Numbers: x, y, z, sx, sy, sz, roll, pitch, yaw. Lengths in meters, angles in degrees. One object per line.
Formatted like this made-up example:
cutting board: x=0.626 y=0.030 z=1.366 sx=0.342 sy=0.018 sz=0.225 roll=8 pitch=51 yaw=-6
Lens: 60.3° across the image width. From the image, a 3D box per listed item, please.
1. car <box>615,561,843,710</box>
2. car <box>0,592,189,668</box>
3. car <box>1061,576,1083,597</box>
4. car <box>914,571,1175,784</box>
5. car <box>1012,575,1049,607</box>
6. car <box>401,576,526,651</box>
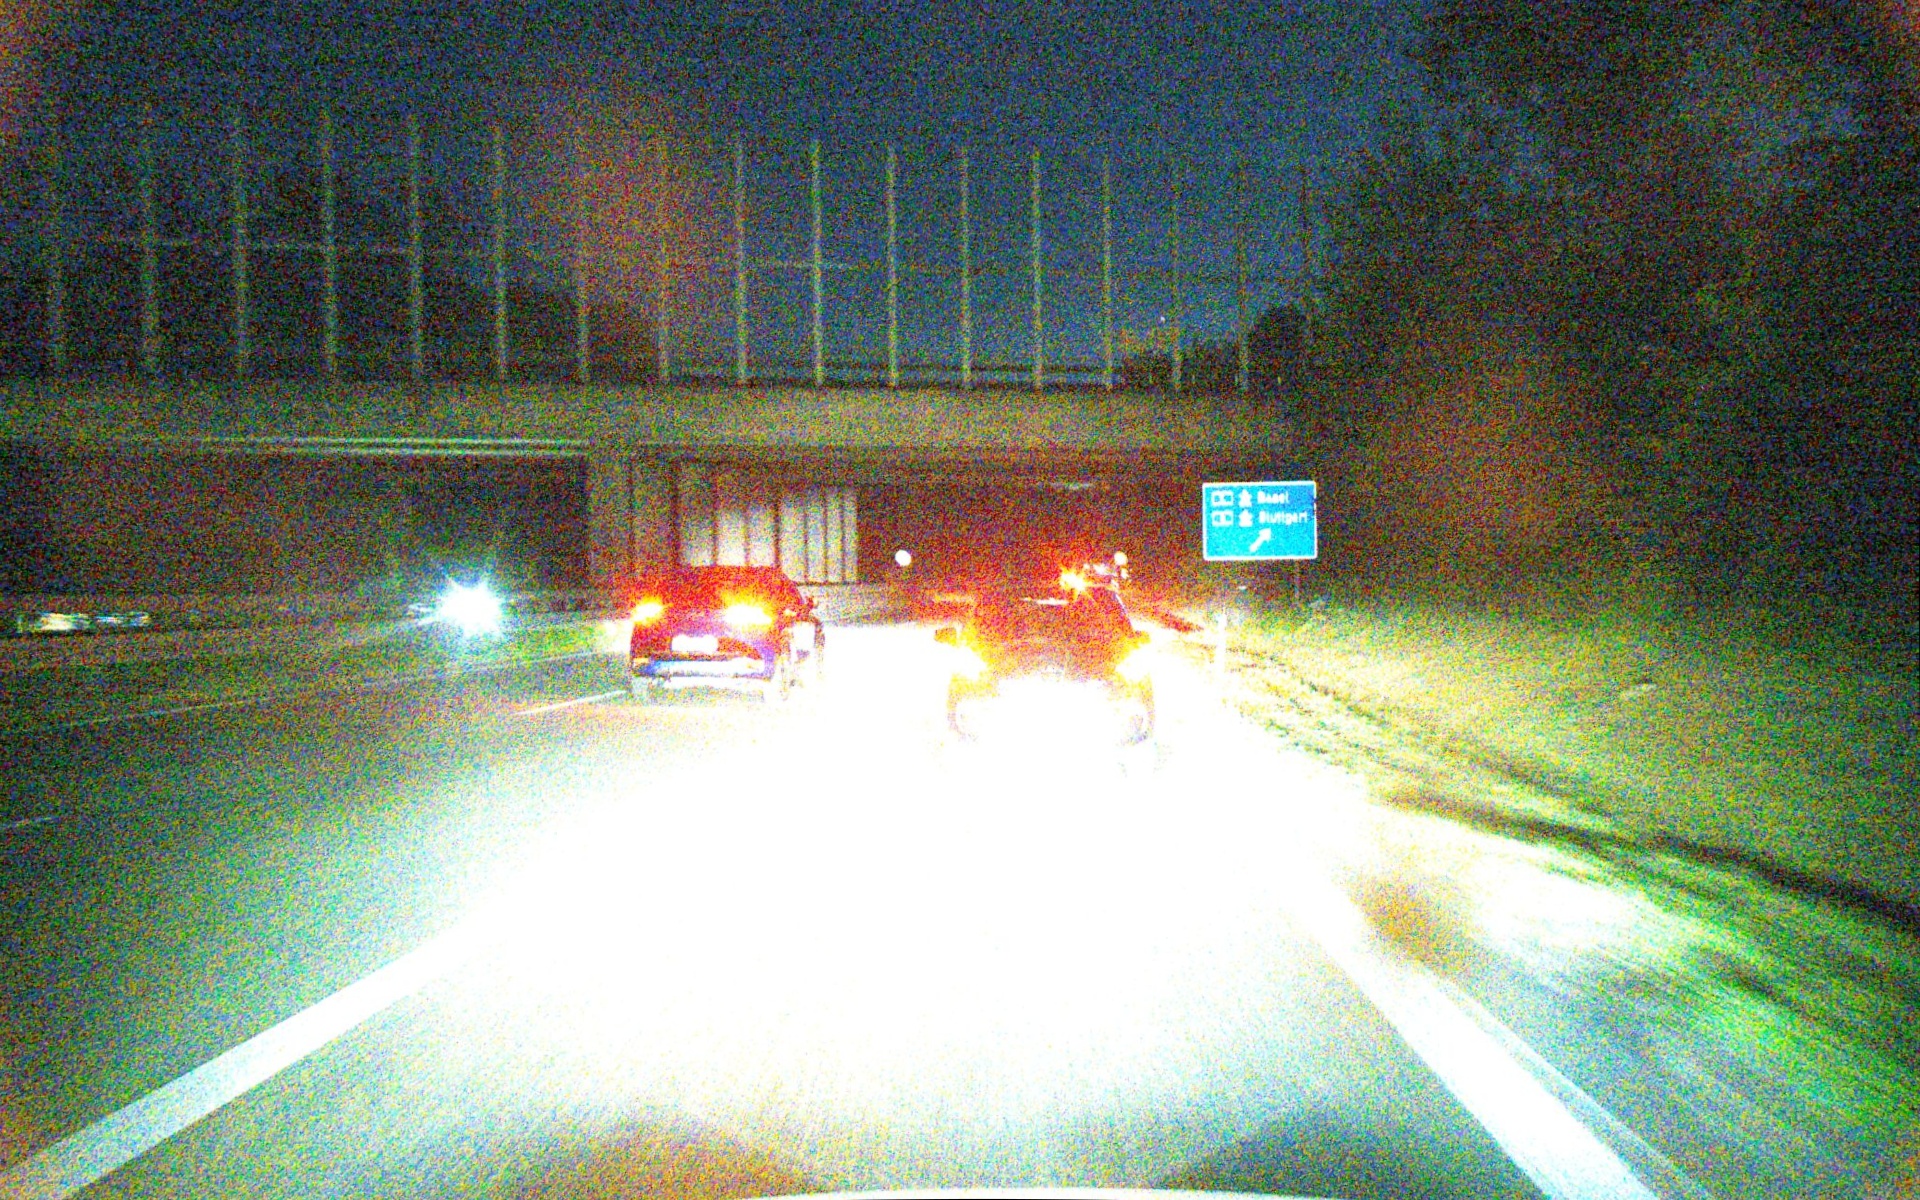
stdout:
car: x=-2.811 y=0.400 z=21.206 sx=1.899 sy=1.636 sz=4.646 roll=2 pitch=0 yaw=4
car: x=-18.862 y=0.637 z=36.106 sx=1.952 sy=1.545 sz=4.002 roll=0 pitch=0 yaw=4
car: x=8.855 y=-1.055 z=130.721 sx=1.697 sy=1.646 sz=3.800 roll=1 pitch=1 yaw=3
car: x=0.558 y=0.537 z=13.880 sx=1.658 sy=1.503 sz=3.996 roll=1 pitch=1 yaw=-5
car: x=3.969 y=-0.481 z=92.876 sx=1.911 sy=1.564 sz=4.243 roll=-4 pitch=-1 yaw=3
car: x=-14.277 y=0.347 z=47.875 sx=1.952 sy=2.049 sz=4.611 roll=0 pitch=0 yaw=4
